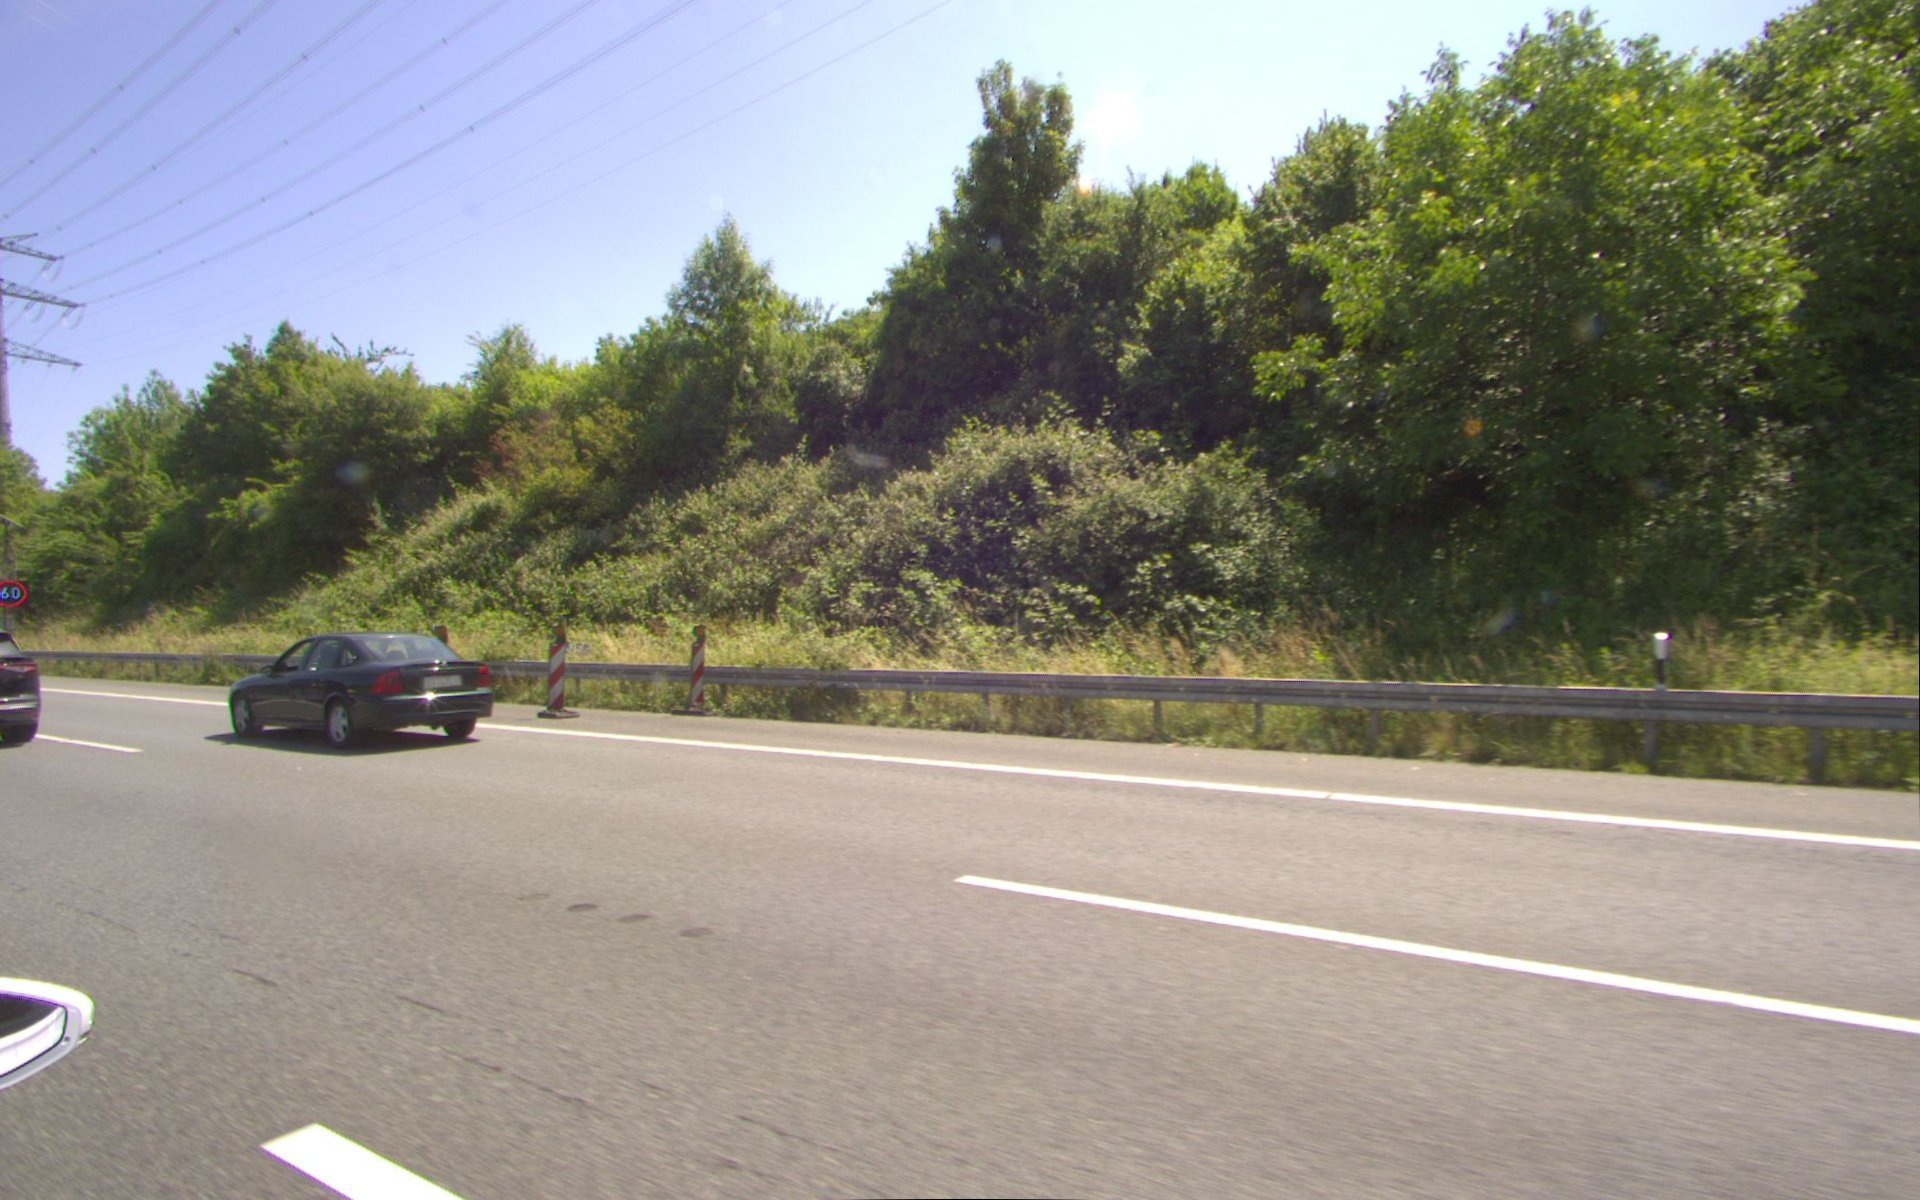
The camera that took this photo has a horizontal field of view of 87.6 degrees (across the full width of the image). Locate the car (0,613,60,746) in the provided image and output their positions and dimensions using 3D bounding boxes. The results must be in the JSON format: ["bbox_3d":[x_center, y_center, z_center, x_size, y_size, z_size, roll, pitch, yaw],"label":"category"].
[{"bbox_3d":[-13.851,0.996,13.187,4.366,1.635,1.825,-1,-1,32],"label":"car"}]

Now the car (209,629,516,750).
[{"bbox_3d":[-8.063,1.098,13.424,4.239,1.395,1.732,-1,-2,31],"label":"car"}]
